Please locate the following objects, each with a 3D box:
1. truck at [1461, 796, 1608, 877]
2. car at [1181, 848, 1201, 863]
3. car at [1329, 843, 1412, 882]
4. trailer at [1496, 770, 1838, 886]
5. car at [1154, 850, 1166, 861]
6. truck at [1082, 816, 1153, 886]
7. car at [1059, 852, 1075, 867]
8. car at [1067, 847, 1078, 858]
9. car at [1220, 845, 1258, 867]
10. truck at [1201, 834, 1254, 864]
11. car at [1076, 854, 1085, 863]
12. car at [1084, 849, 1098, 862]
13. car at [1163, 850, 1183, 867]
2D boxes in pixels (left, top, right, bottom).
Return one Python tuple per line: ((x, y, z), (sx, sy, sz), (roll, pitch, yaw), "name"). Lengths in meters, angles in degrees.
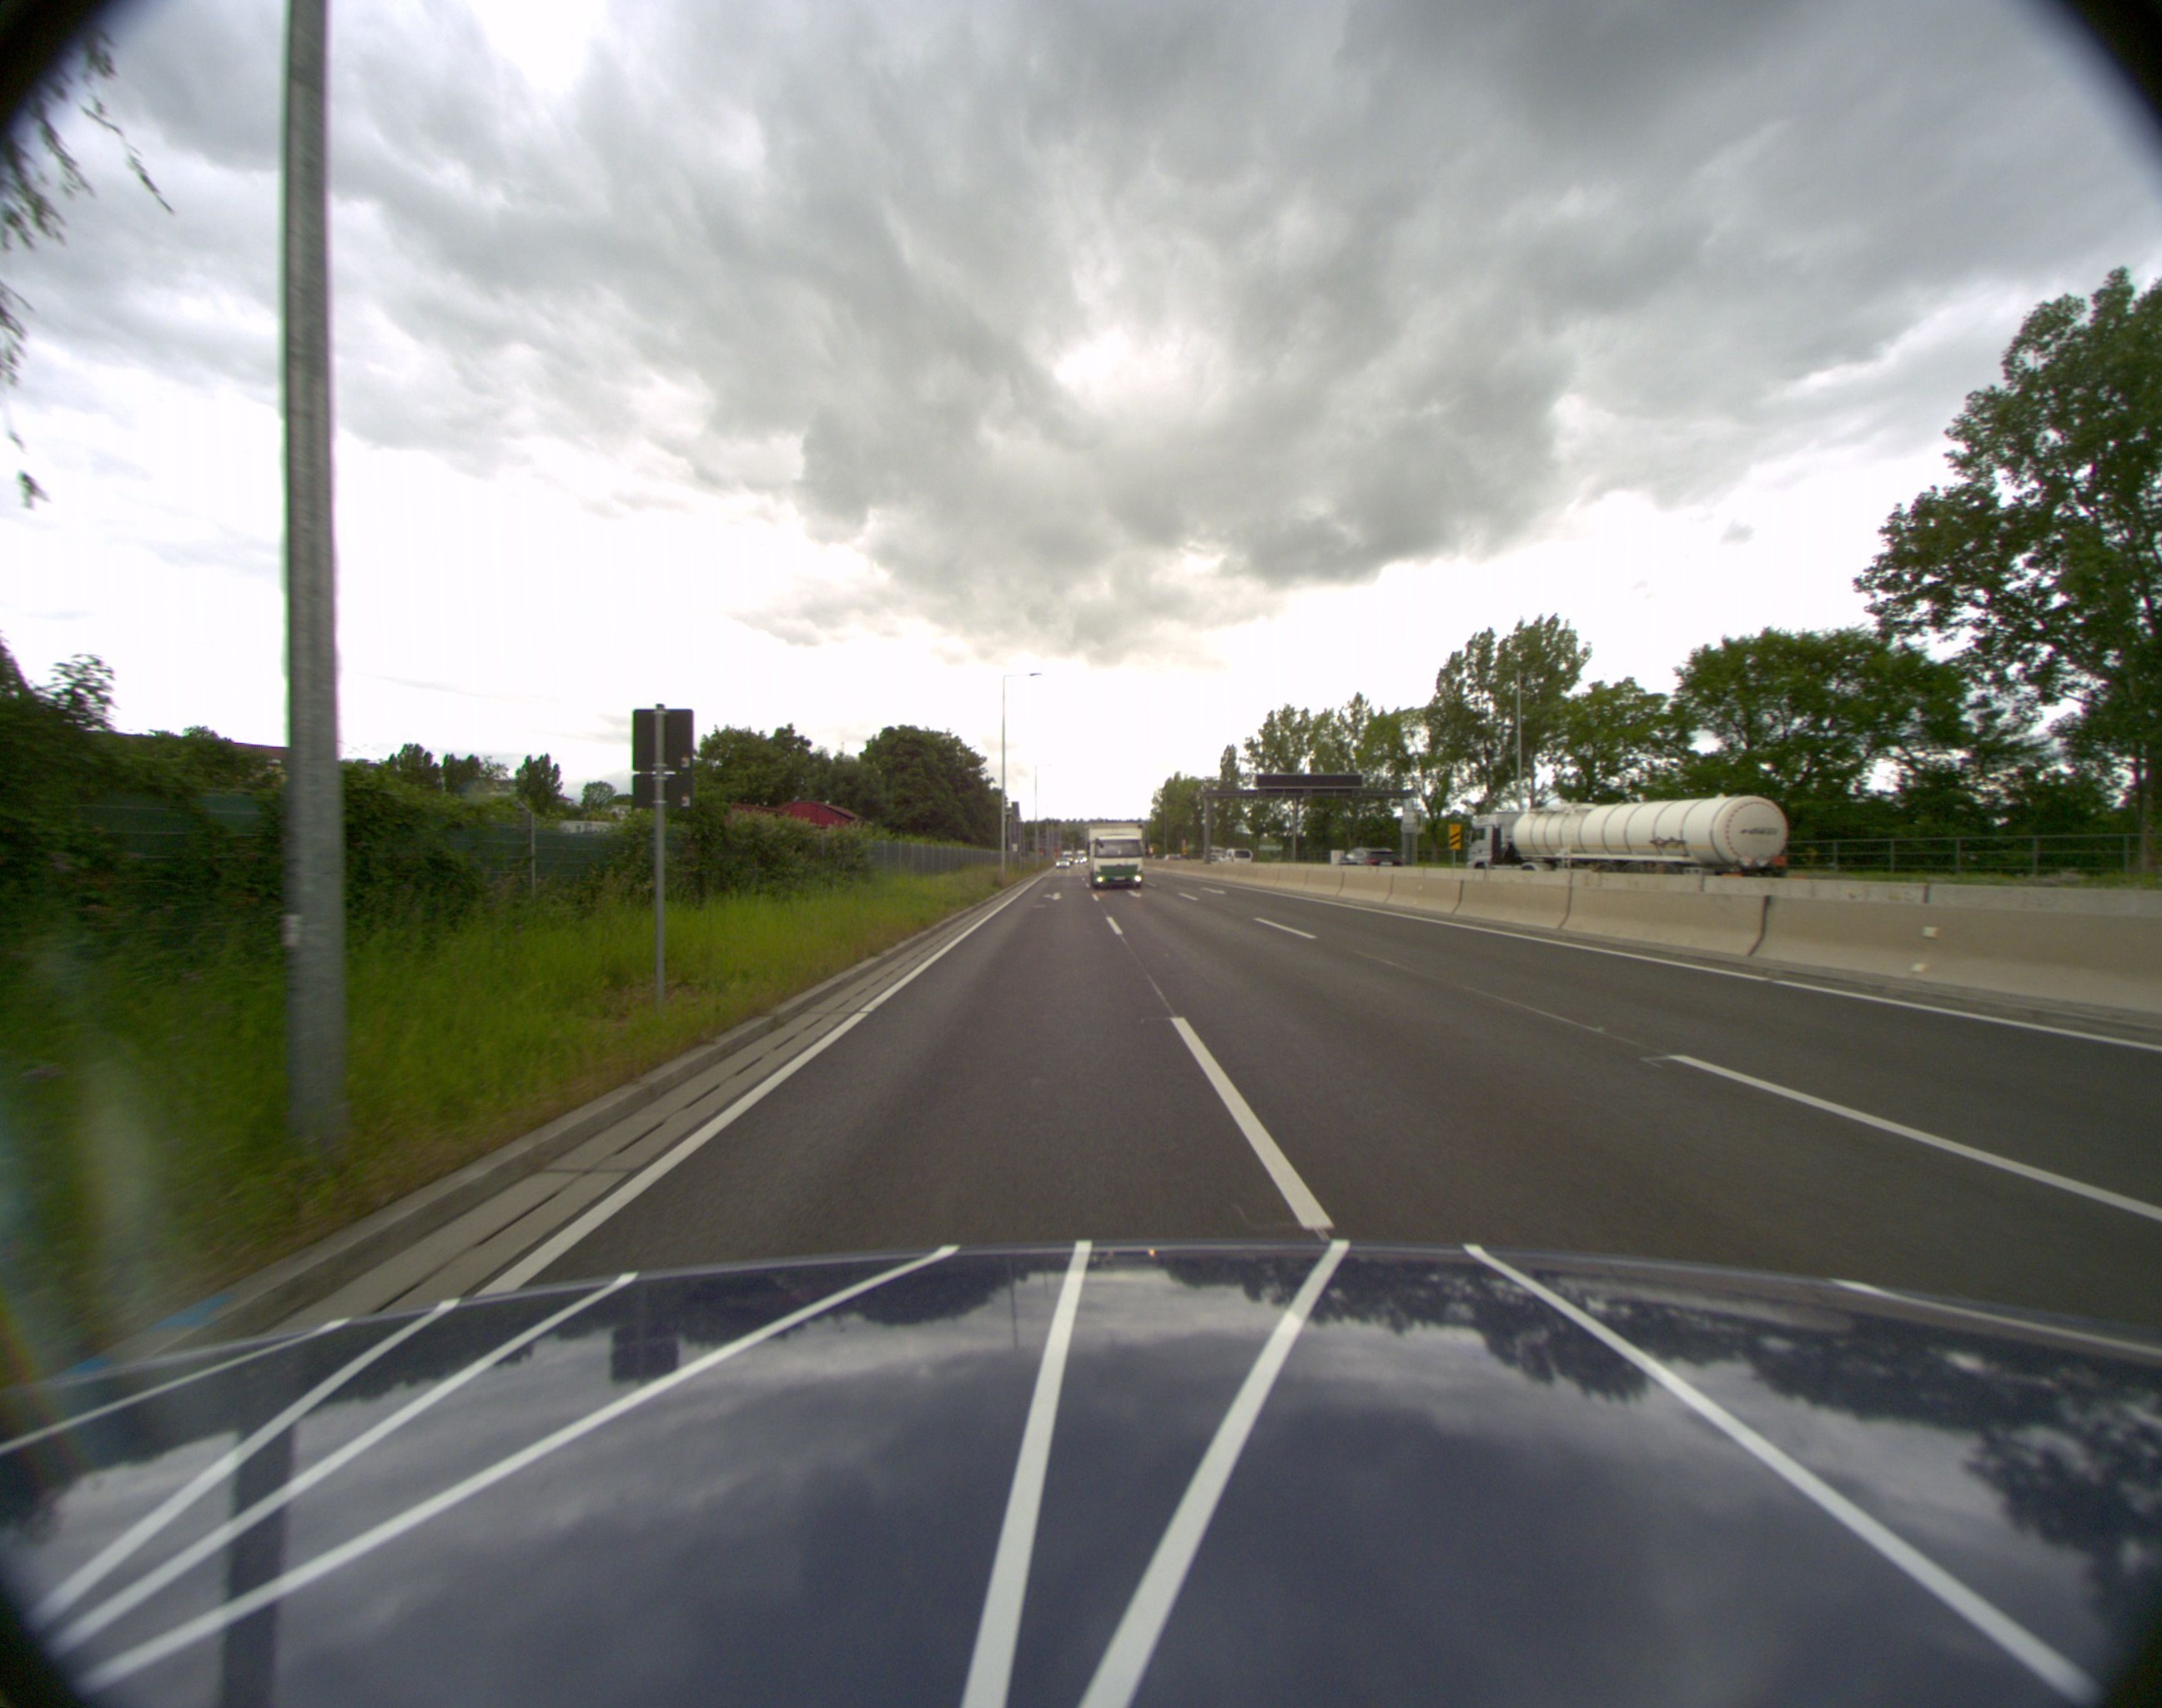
((19.972, -0.714, 33.868), (3.106, 3.200, 5.390), (-3, 0, -2), "truck")
((14.058, 0.190, 96.980), (1.821, 1.866, 4.100), (-3, 0, 0), "car")
((13.380, 0.358, 35.417), (1.999, 1.608, 4.696), (-3, 0, 0), "car")
((20.169, -0.739, 27.828), (3.109, 3.201, 11.666), (-3, 0, -2), "trailer")
((15.619, 0.232, 150.551), (1.998, 2.002, 4.000), (-3, 0, 1), "car")
((1.691, -0.129, 39.135), (2.943, 3.064, 8.386), (-2, 0, -2), "truck")
((-1.936, 0.763, 103.190), (1.999, 1.849, 3.999), (-3, 0, -1), "car")
((-1.722, -0.280, 147.713), (1.999, 2.002, 3.999), (-3, 0, -1), "car")
((12.506, 0.127, 60.453), (1.999, 1.608, 4.696), (-3, 0, 0), "car")
((17.320, -0.514, 91.288), (2.861, 3.089, 15.883), (-3, 0, -1), "truck")
((-0.144, 1.028, 174.091), (1.999, 2.002, 4.000), (-3, 0, -1), "car")
((1.550, 0.241, 121.197), (1.999, 2.002, 3.999), (-3, 0, -1), "car")
((10.947, 0.548, 90.608), (1.821, 1.892, 3.999), (-3, 0, -1), "car")
